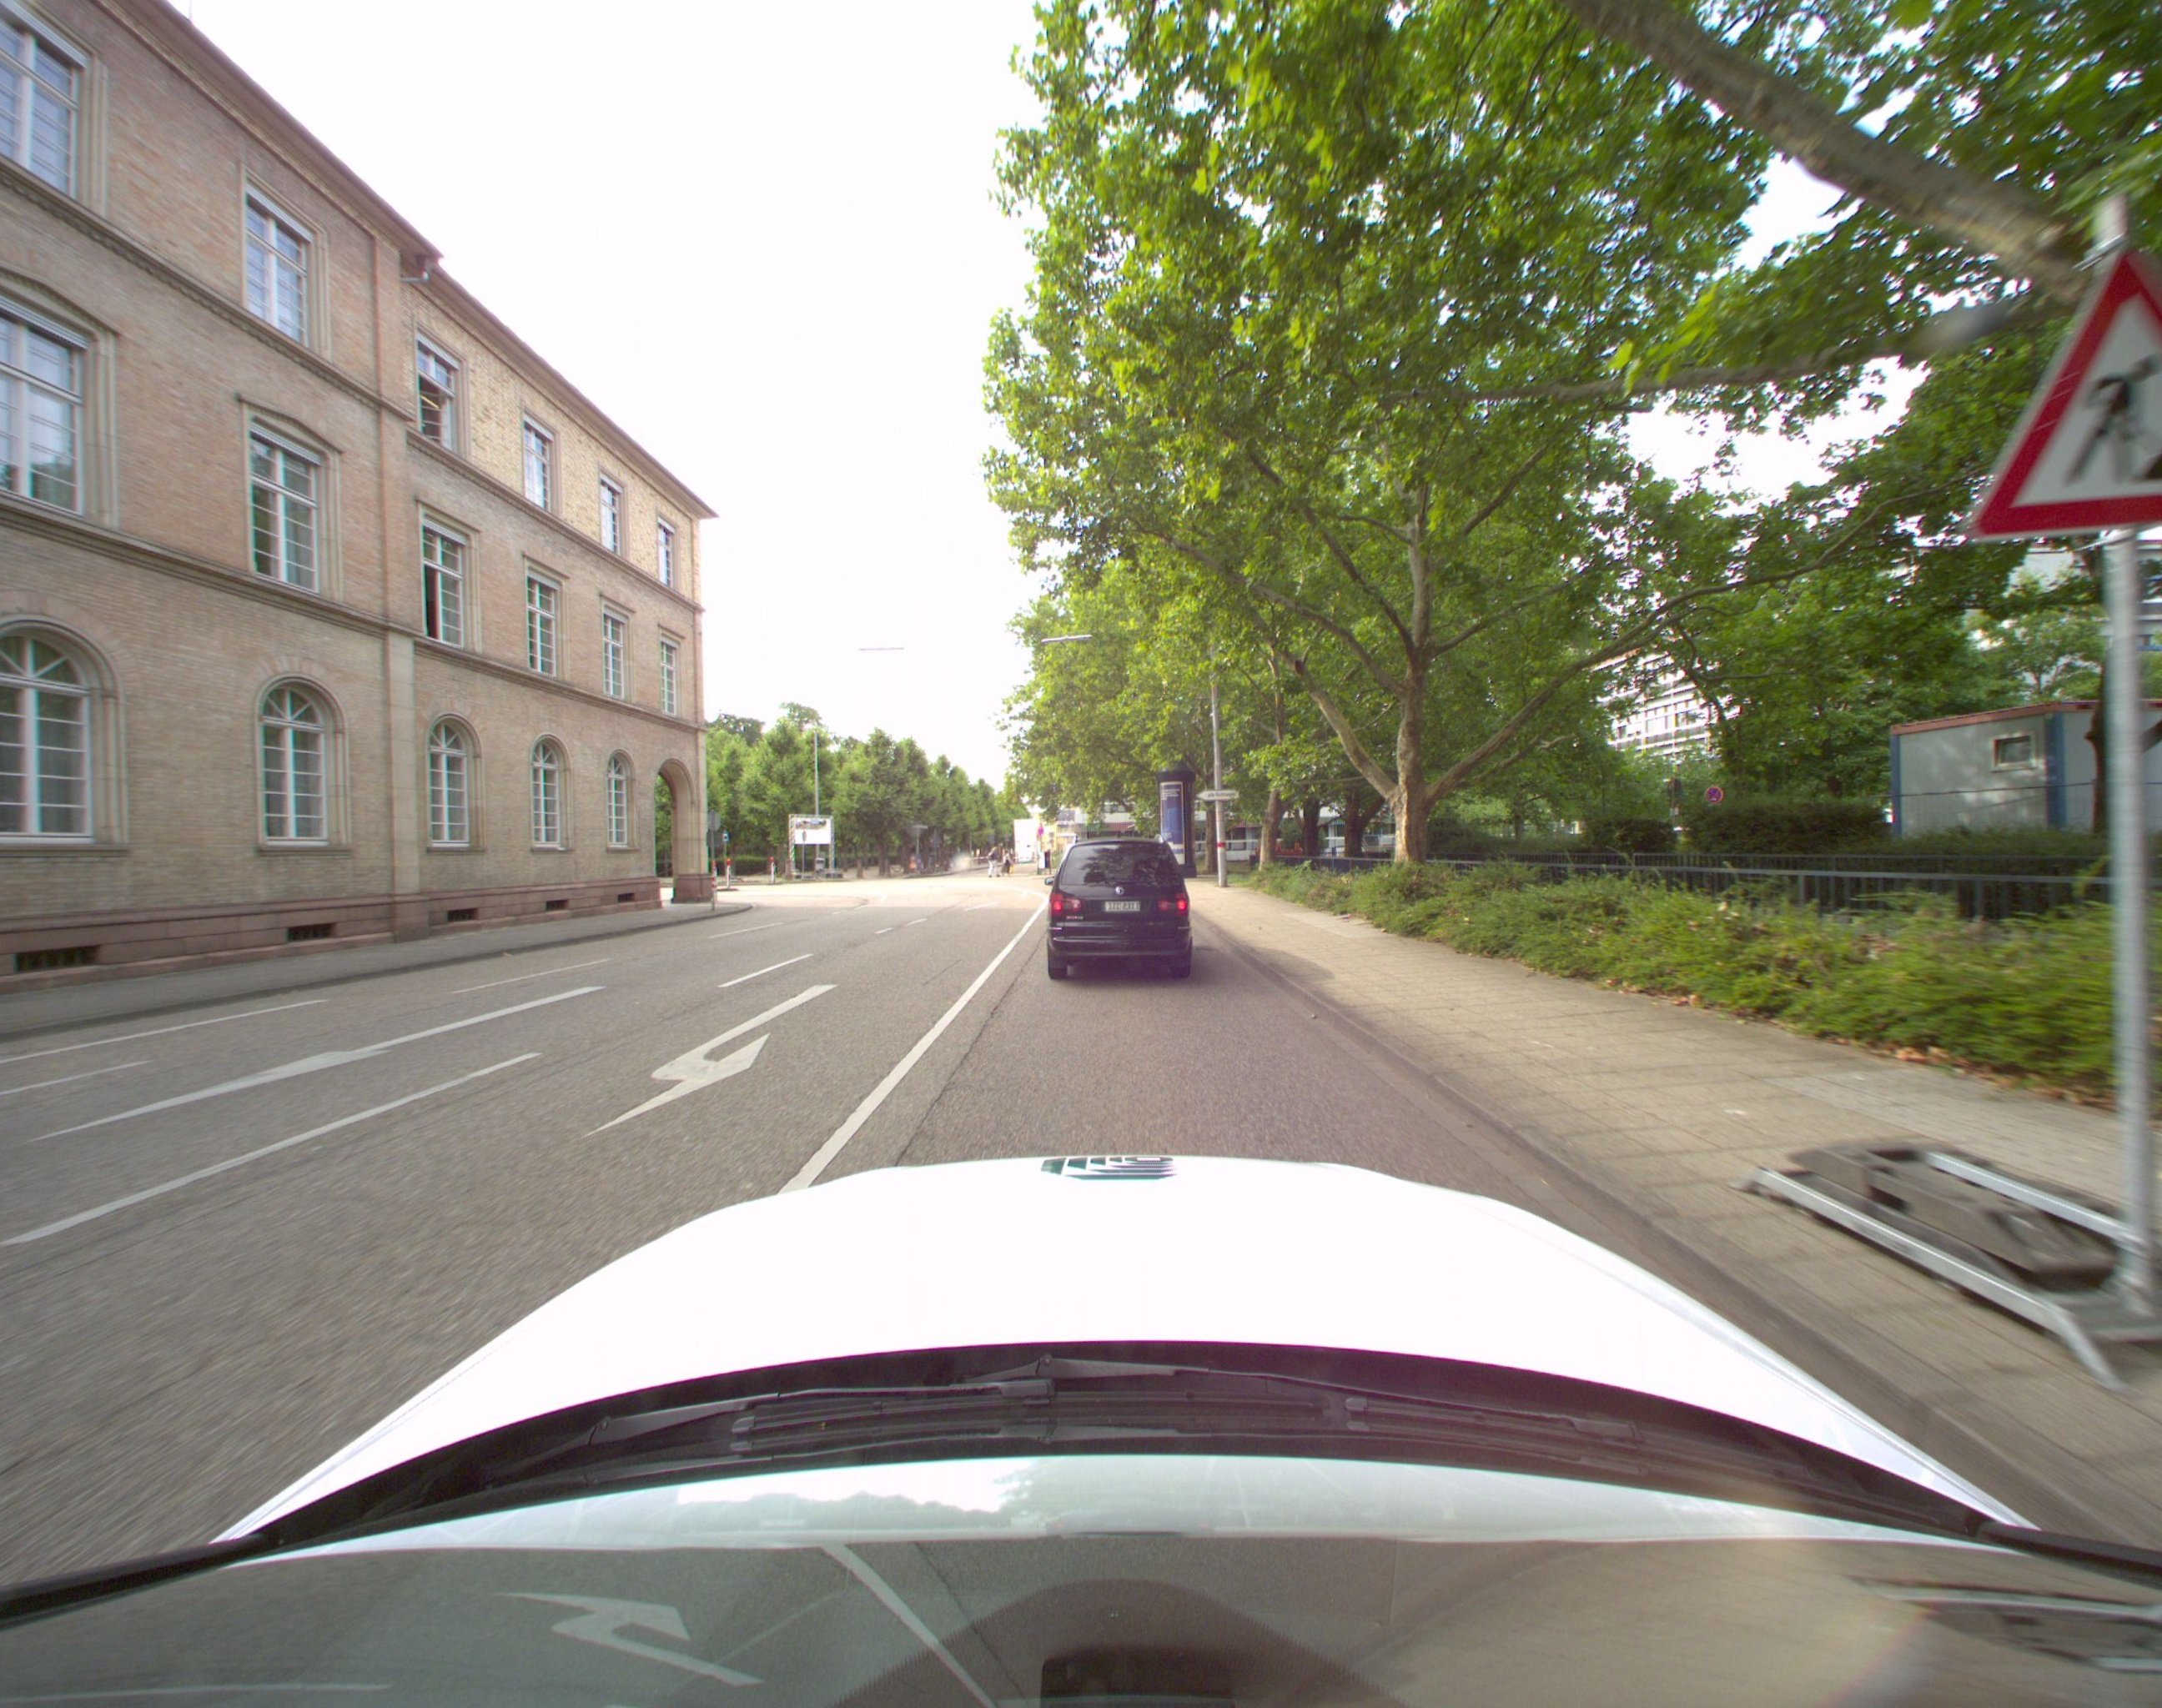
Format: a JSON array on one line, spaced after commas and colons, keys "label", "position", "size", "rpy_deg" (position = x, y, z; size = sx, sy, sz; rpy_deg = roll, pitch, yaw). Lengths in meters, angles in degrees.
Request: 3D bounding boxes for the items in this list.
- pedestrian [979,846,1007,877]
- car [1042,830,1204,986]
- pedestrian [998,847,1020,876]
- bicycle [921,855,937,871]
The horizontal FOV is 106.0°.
[{"label": "pedestrian", "position": [-4.920, 0.404, 45.627], "size": [0.951, 1.741, 1.264], "rpy_deg": [0, 0, 39]}, {"label": "car", "position": [0.500, 0.591, 11.286], "size": [1.787, 1.708, 4.131], "rpy_deg": [-2, 0, 0]}, {"label": "pedestrian", "position": [-3.992, 0.407, 45.319], "size": [0.887, 1.641, 0.858], "rpy_deg": [0, 0, 36]}, {"label": "bicycle", "position": [-11.679, 0.680, 62.545], "size": [0.954, 1.110, 2.565], "rpy_deg": [0, 1, -16]}]
